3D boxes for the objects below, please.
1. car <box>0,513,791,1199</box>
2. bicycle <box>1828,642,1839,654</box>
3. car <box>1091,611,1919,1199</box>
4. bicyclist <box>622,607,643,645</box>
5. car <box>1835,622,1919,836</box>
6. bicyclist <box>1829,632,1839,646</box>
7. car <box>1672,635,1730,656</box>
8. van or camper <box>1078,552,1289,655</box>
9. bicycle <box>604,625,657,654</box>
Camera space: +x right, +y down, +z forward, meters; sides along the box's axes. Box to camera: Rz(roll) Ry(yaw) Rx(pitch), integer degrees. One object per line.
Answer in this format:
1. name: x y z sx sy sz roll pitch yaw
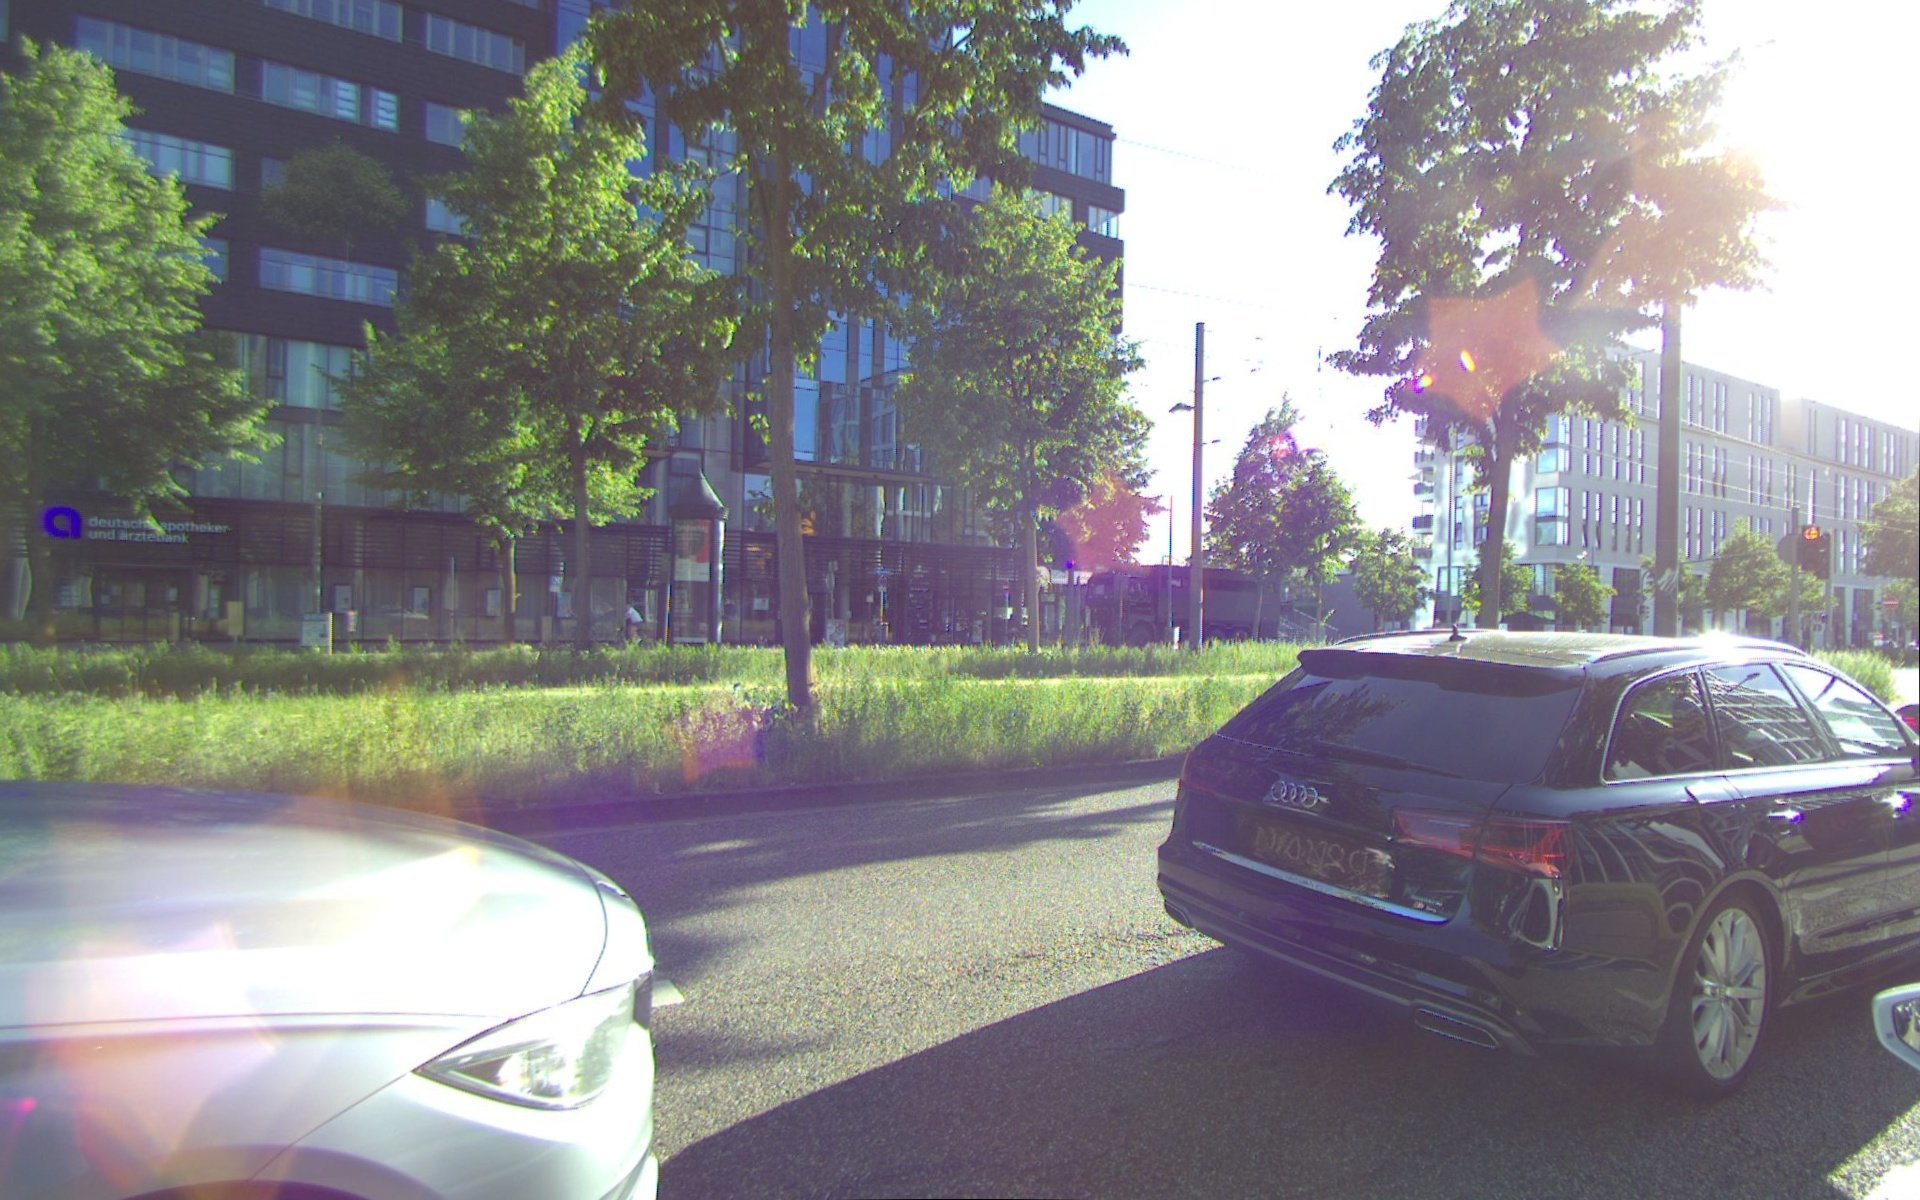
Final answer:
1. car: -2.744 0.618 1.188 4.689 1.508 1.799 2 -1 -31
2. bicycle: 81.660 4.466 93.899 1.625 1.125 0.523 2 0 -41
3. car: 2.906 0.840 4.445 4.456 1.476 1.799 2 -1 -31
4. bicyclist: -12.474 0.980 38.218 0.619 1.424 0.490 2 0 -30
5. car: 8.924 0.993 7.962 4.065 1.548 1.799 2 -1 -30
6. bicyclist: 81.683 3.667 93.882 0.699 1.310 0.573 2 0 -40
7. car: 50.249 3.099 68.093 4.420 1.360 1.572 2 -1 -31
8. van or camper: 10.267 0.281 45.527 10.109 4.248 2.740 2 -1 -30
9. bicycle: -12.547 1.523 38.215 1.826 1.047 0.525 2 0 -30
